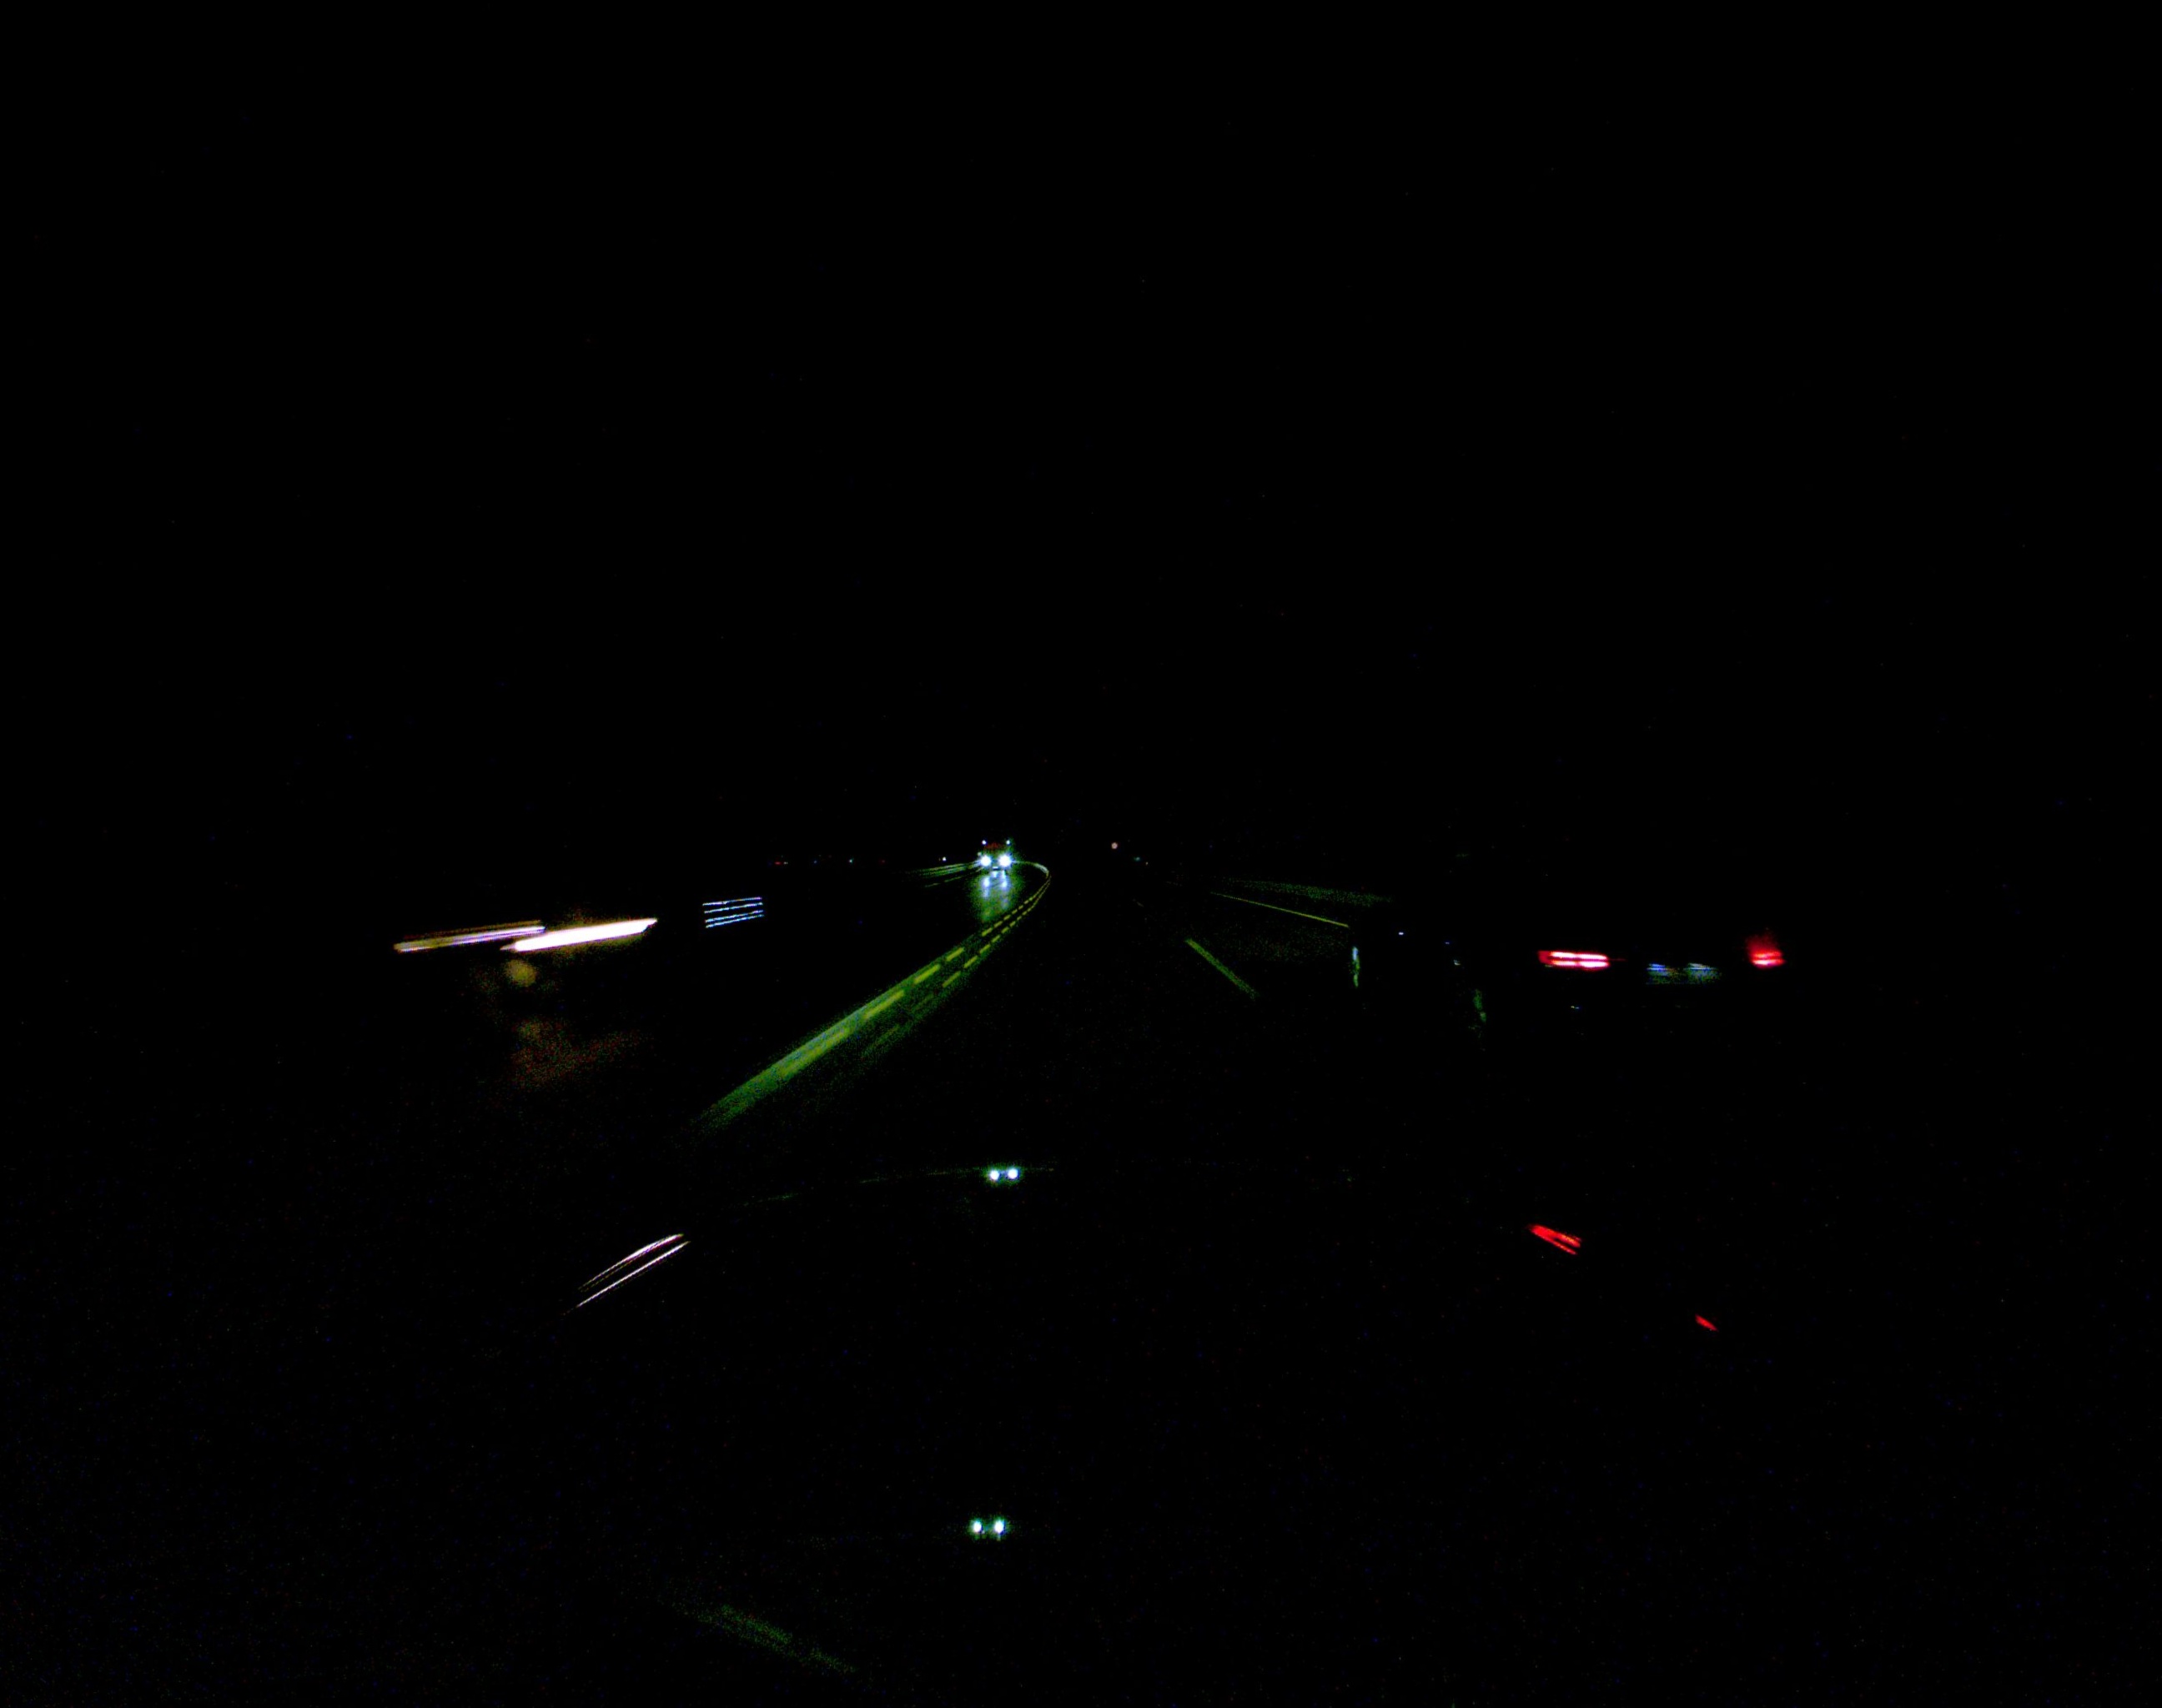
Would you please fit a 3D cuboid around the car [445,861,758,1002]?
[{"bbox_3d":[-5.969,0.848,10.828,1.679,1.459,4.198,-2,0,-1],"label":"car"}]

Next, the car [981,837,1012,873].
[{"bbox_3d":[-7.685,0.127,74.743,2.481,3.105,7.374,-1,-1,-4],"label":"car"}]

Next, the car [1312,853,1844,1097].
[{"bbox_3d":[3.708,0.750,7.374,1.802,1.426,4.873,-2,0,0],"label":"car"}]
